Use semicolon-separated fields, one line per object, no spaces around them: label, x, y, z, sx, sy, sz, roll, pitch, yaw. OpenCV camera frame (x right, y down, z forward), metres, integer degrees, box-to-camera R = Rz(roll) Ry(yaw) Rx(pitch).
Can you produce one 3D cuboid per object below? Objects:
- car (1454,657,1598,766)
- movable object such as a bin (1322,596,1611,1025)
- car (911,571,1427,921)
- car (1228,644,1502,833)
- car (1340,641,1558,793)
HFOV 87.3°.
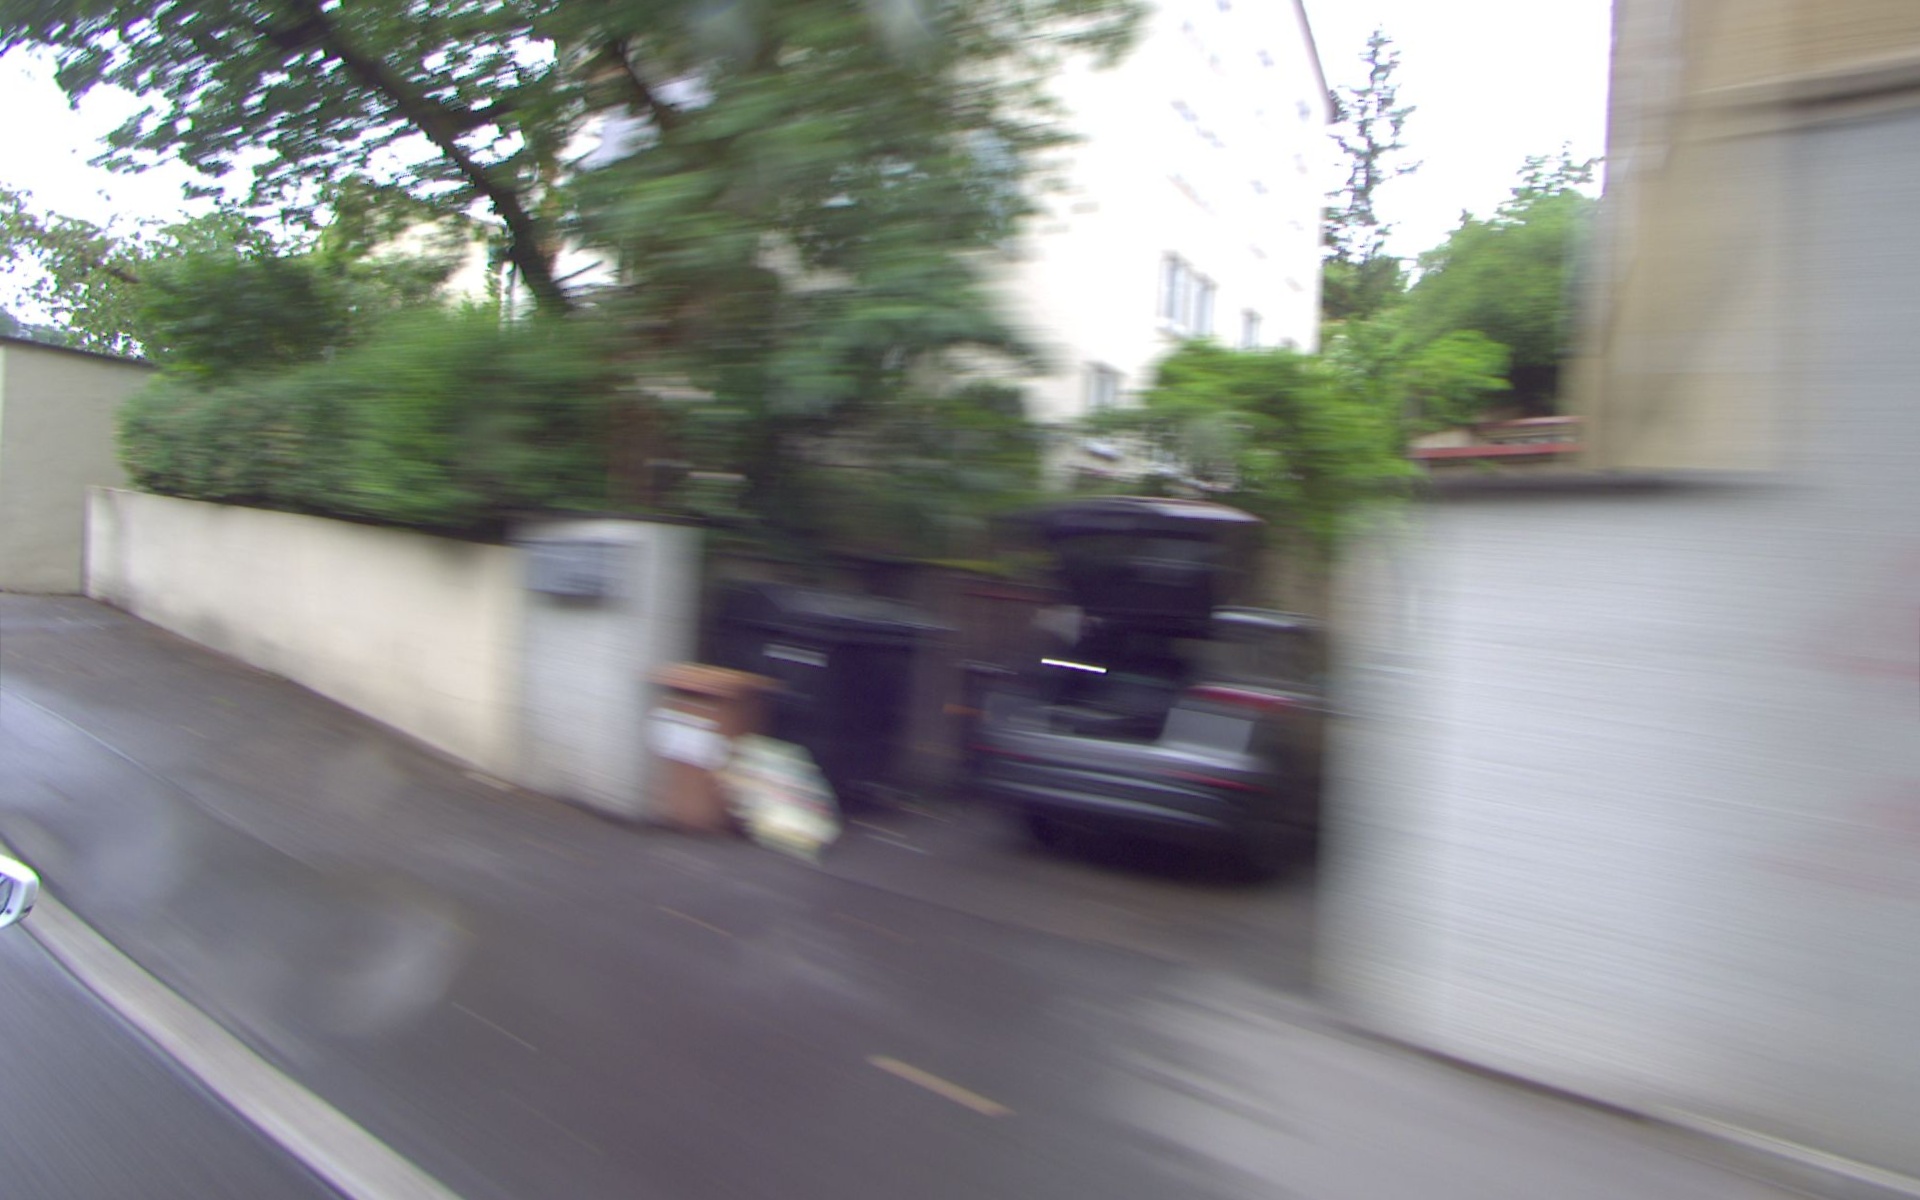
car;11.804;2.287;20.837;1.970;1.844;4.290;4;-3;37
movable object such as a bin;2.201;0.813;4.376;0.812;1.473;1.253;8;0;30
car;1.784;0.867;7.094;1.969;1.593;4.293;4;-3;35
car;4.848;1.497;11.625;1.969;1.593;4.293;4;-3;35
car;7.556;1.740;15.304;1.972;1.844;4.287;4;-3;39
